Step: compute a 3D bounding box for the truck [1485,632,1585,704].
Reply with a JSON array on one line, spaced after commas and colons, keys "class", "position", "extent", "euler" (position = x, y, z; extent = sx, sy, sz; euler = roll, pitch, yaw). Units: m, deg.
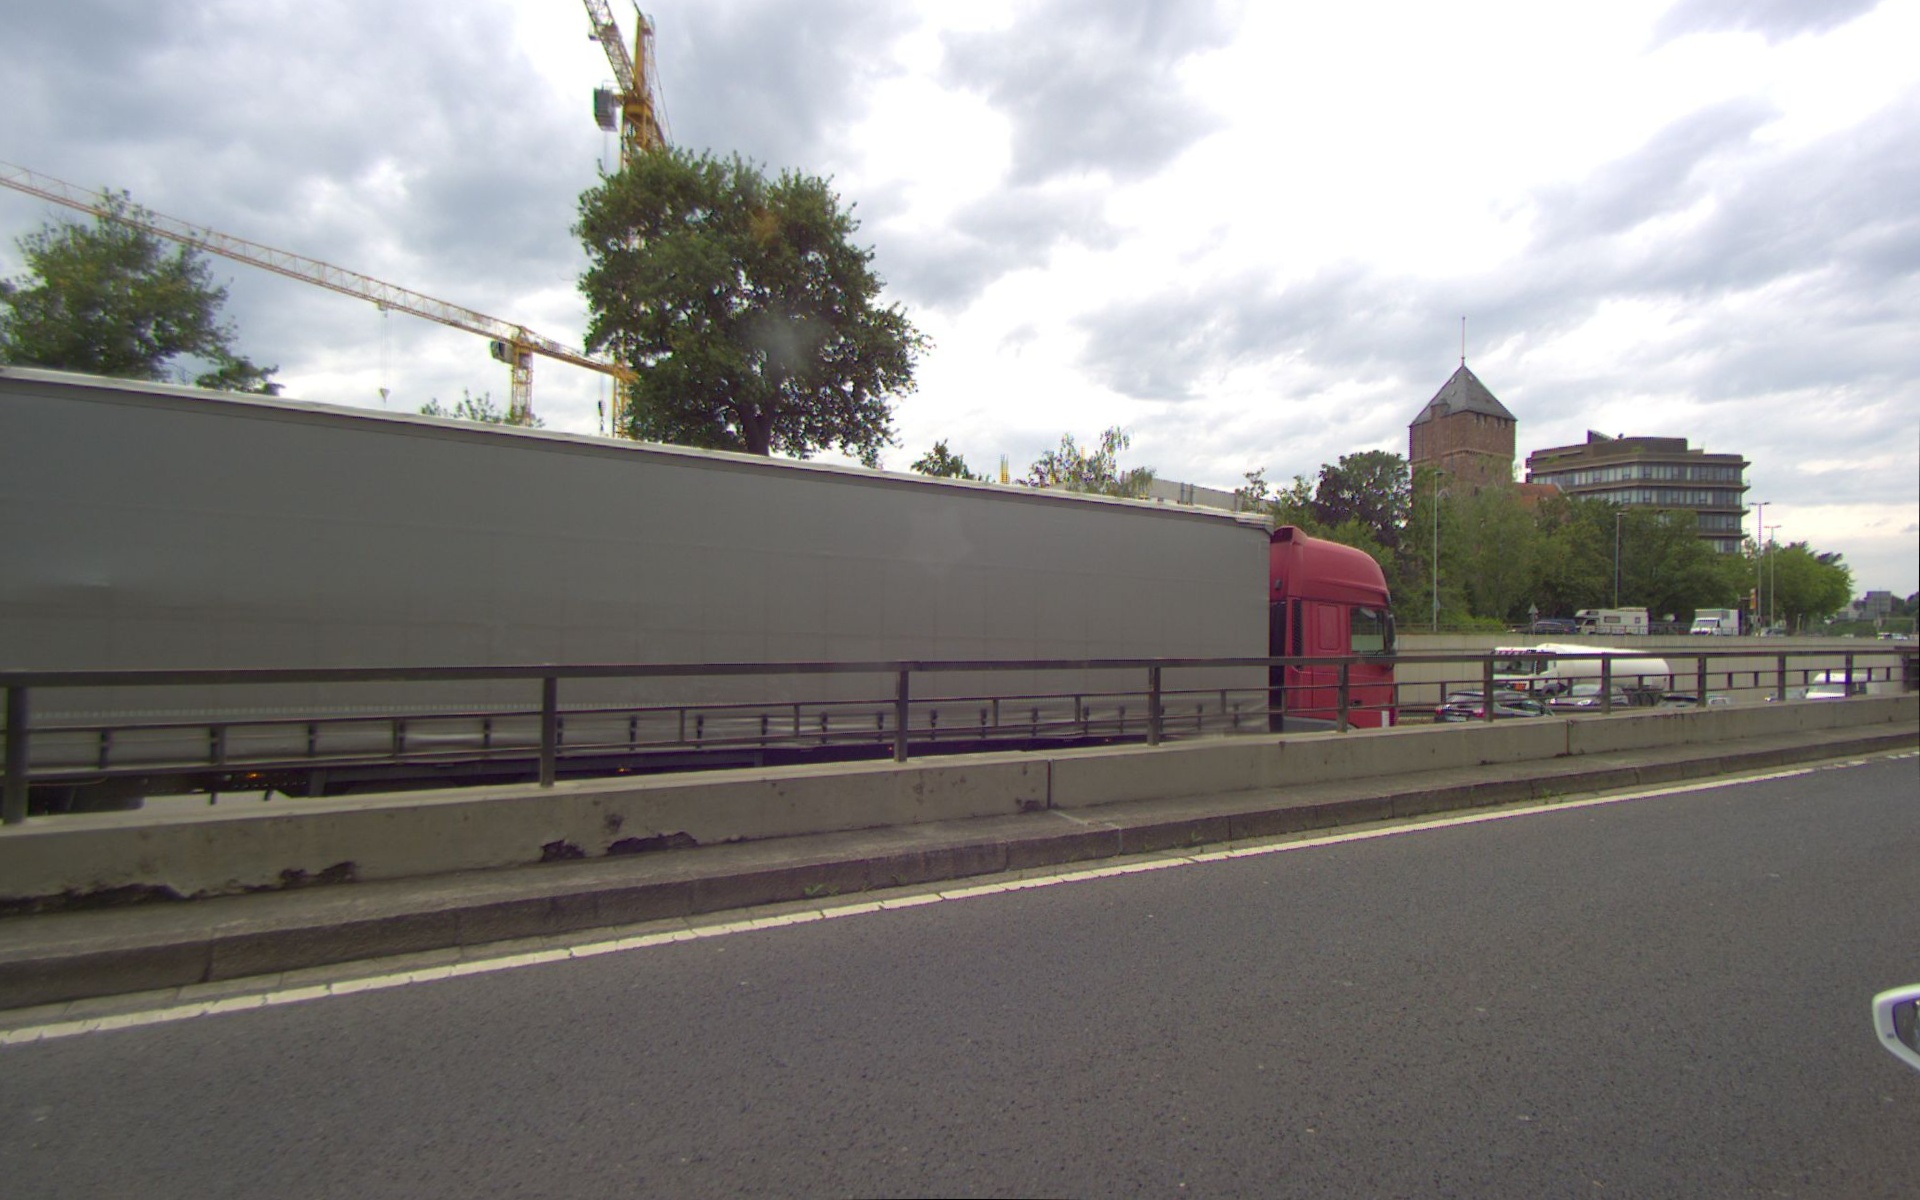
[{"class": "truck", "position": [27.591, 3.213, 48.182], "extent": [4.272, 3.262, 2.510], "euler": [2, -2, -33]}]

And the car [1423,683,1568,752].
[{"class": "car", "position": [14.467, 3.107, 27.101], "extent": [3.850, 1.549, 1.648], "euler": [2, 0, -30]}]

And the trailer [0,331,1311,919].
[{"class": "trailer", "position": [-2.023, 0.385, 11.287], "extent": [14.386, 4.090, 2.639], "euler": [2, -2, -31]}]

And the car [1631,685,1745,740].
[{"class": "car", "position": [24.034, 3.667, 33.137], "extent": [3.852, 1.549, 1.616], "euler": [2, 0, -31]}]

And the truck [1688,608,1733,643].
[{"class": "truck", "position": [69.467, 2.360, 92.945], "extent": [7.045, 3.027, 1.998], "euler": [2, 0, -42]}]

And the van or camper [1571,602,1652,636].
[{"class": "van or camper", "position": [59.673, 1.719, 92.146], "extent": [5.805, 2.848, 2.147], "euler": [2, 0, 15]}]

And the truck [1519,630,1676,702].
[{"class": "truck", "position": [32.896, 3.332, 51.594], "extent": [10.931, 3.396, 2.510], "euler": [2, -2, -33]}]

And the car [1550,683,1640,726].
[{"class": "car", "position": [26.898, 4.389, 42.525], "extent": [3.907, 1.573, 1.616], "euler": [2, -2, -31]}]

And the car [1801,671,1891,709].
[{"class": "car", "position": [52.127, 5.237, 59.049], "extent": [6.581, 2.025, 2.197], "euler": [2, -3, -32]}]

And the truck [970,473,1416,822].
[{"class": "truck", "position": [3.470, 0.667, 14.521], "extent": [6.131, 4.090, 2.692], "euler": [2, -2, -31]}]

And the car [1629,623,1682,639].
[{"class": "car", "position": [67.958, 3.012, 98.207], "extent": [3.919, 1.460, 1.630], "euler": [2, 0, 9]}]

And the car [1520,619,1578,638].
[{"class": "car", "position": [50.160, 2.416, 85.572], "extent": [3.919, 1.460, 1.630], "euler": [2, 0, 9]}]

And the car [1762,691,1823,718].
[{"class": "car", "position": [55.121, 6.899, 66.482], "extent": [4.629, 1.445, 1.739], "euler": [1, -2, -32]}]
